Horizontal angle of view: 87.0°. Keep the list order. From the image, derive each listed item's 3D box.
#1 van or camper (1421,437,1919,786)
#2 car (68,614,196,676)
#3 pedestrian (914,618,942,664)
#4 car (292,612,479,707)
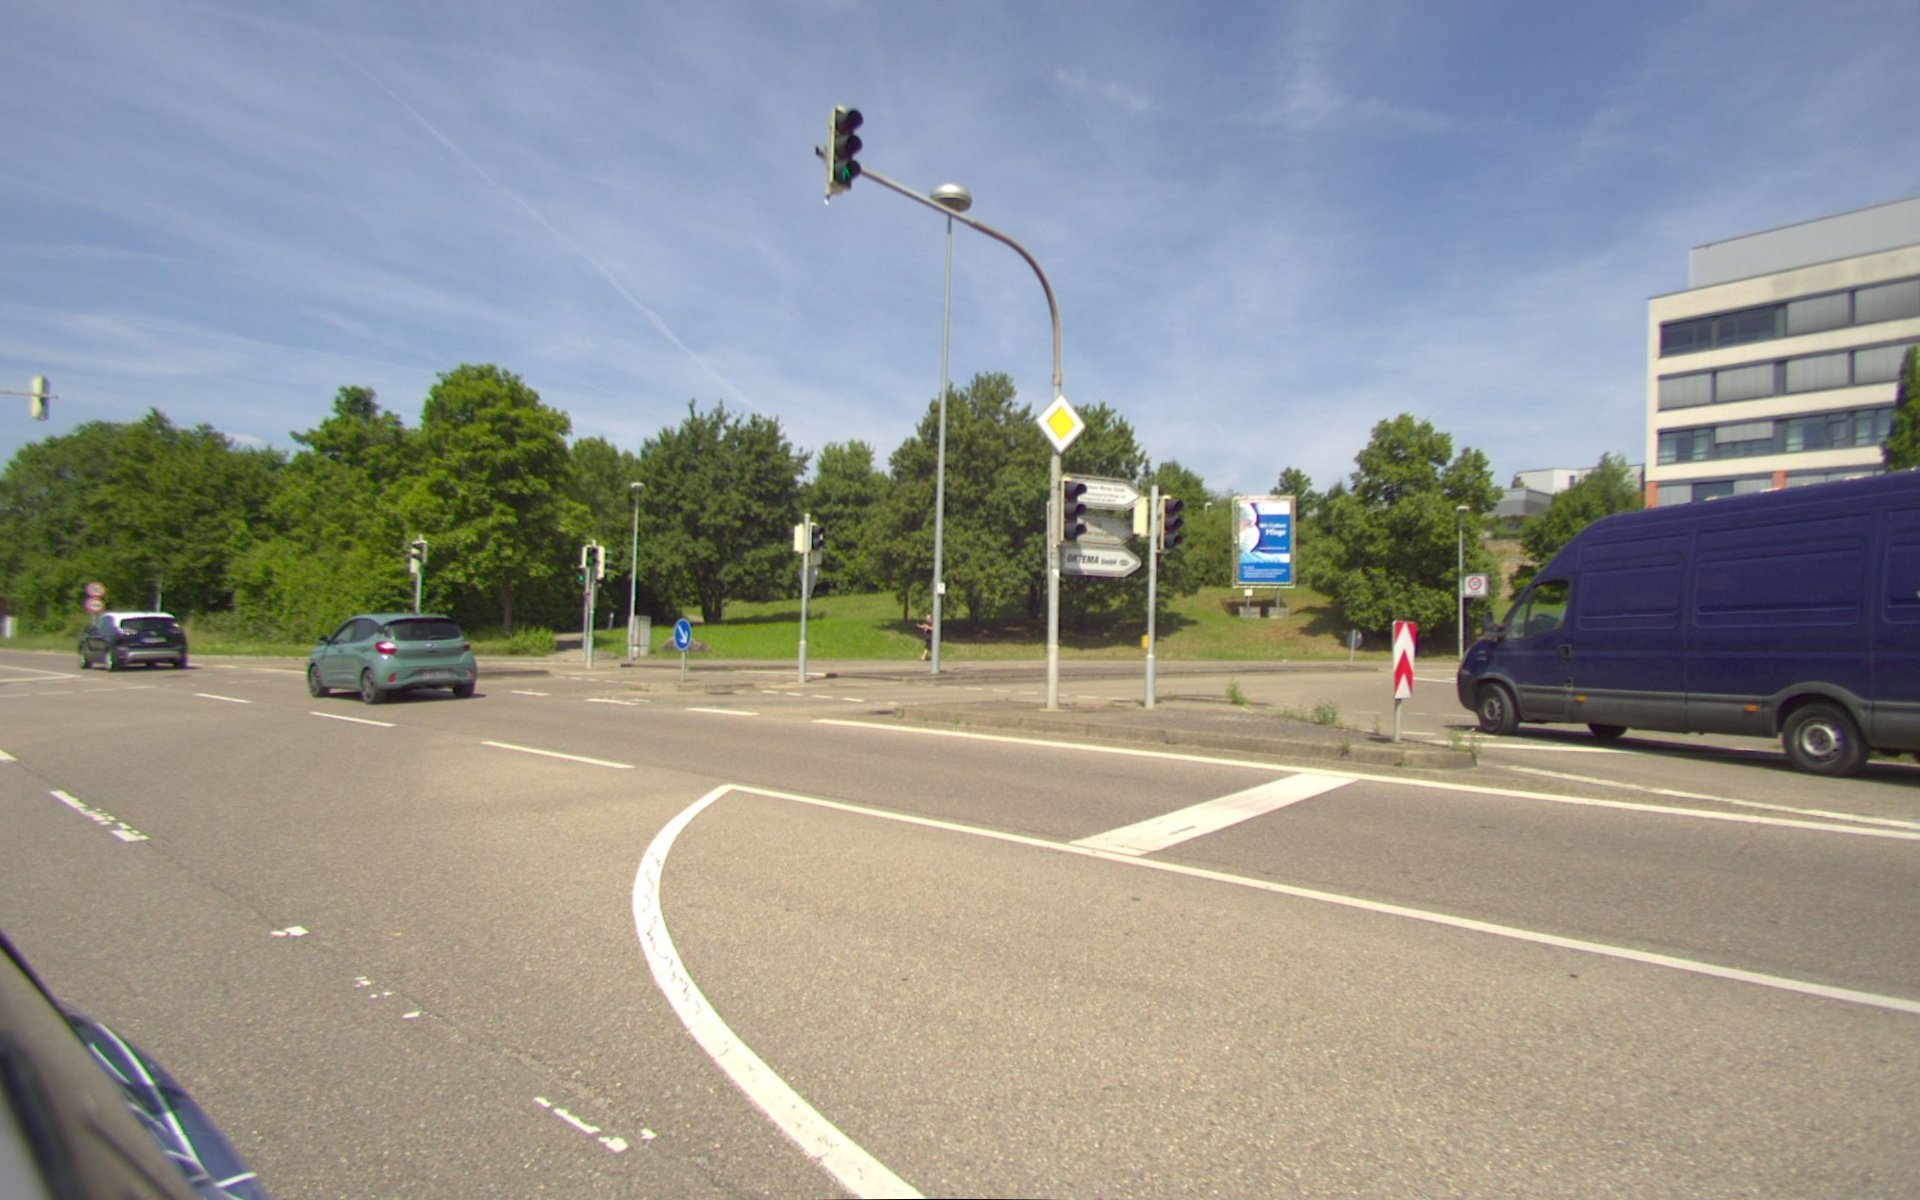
[{"bbox_3d":[8.545,0.163,10.932,2.209,2.936,7.267,-1,-2,-16],"label":"van or camper"},{"bbox_3d":[-23.033,1.176,28.097,4.184,1.574,1.955,-1,-1,39],"label":"car"},{"bbox_3d":[-1.271,1.601,39.878,0.906,1.749,0.902,0,-1,-15],"label":"pedestrian"},{"bbox_3d":[-10.253,0.978,17.962,3.830,1.494,1.689,-1,-1,41],"label":"car"}]
